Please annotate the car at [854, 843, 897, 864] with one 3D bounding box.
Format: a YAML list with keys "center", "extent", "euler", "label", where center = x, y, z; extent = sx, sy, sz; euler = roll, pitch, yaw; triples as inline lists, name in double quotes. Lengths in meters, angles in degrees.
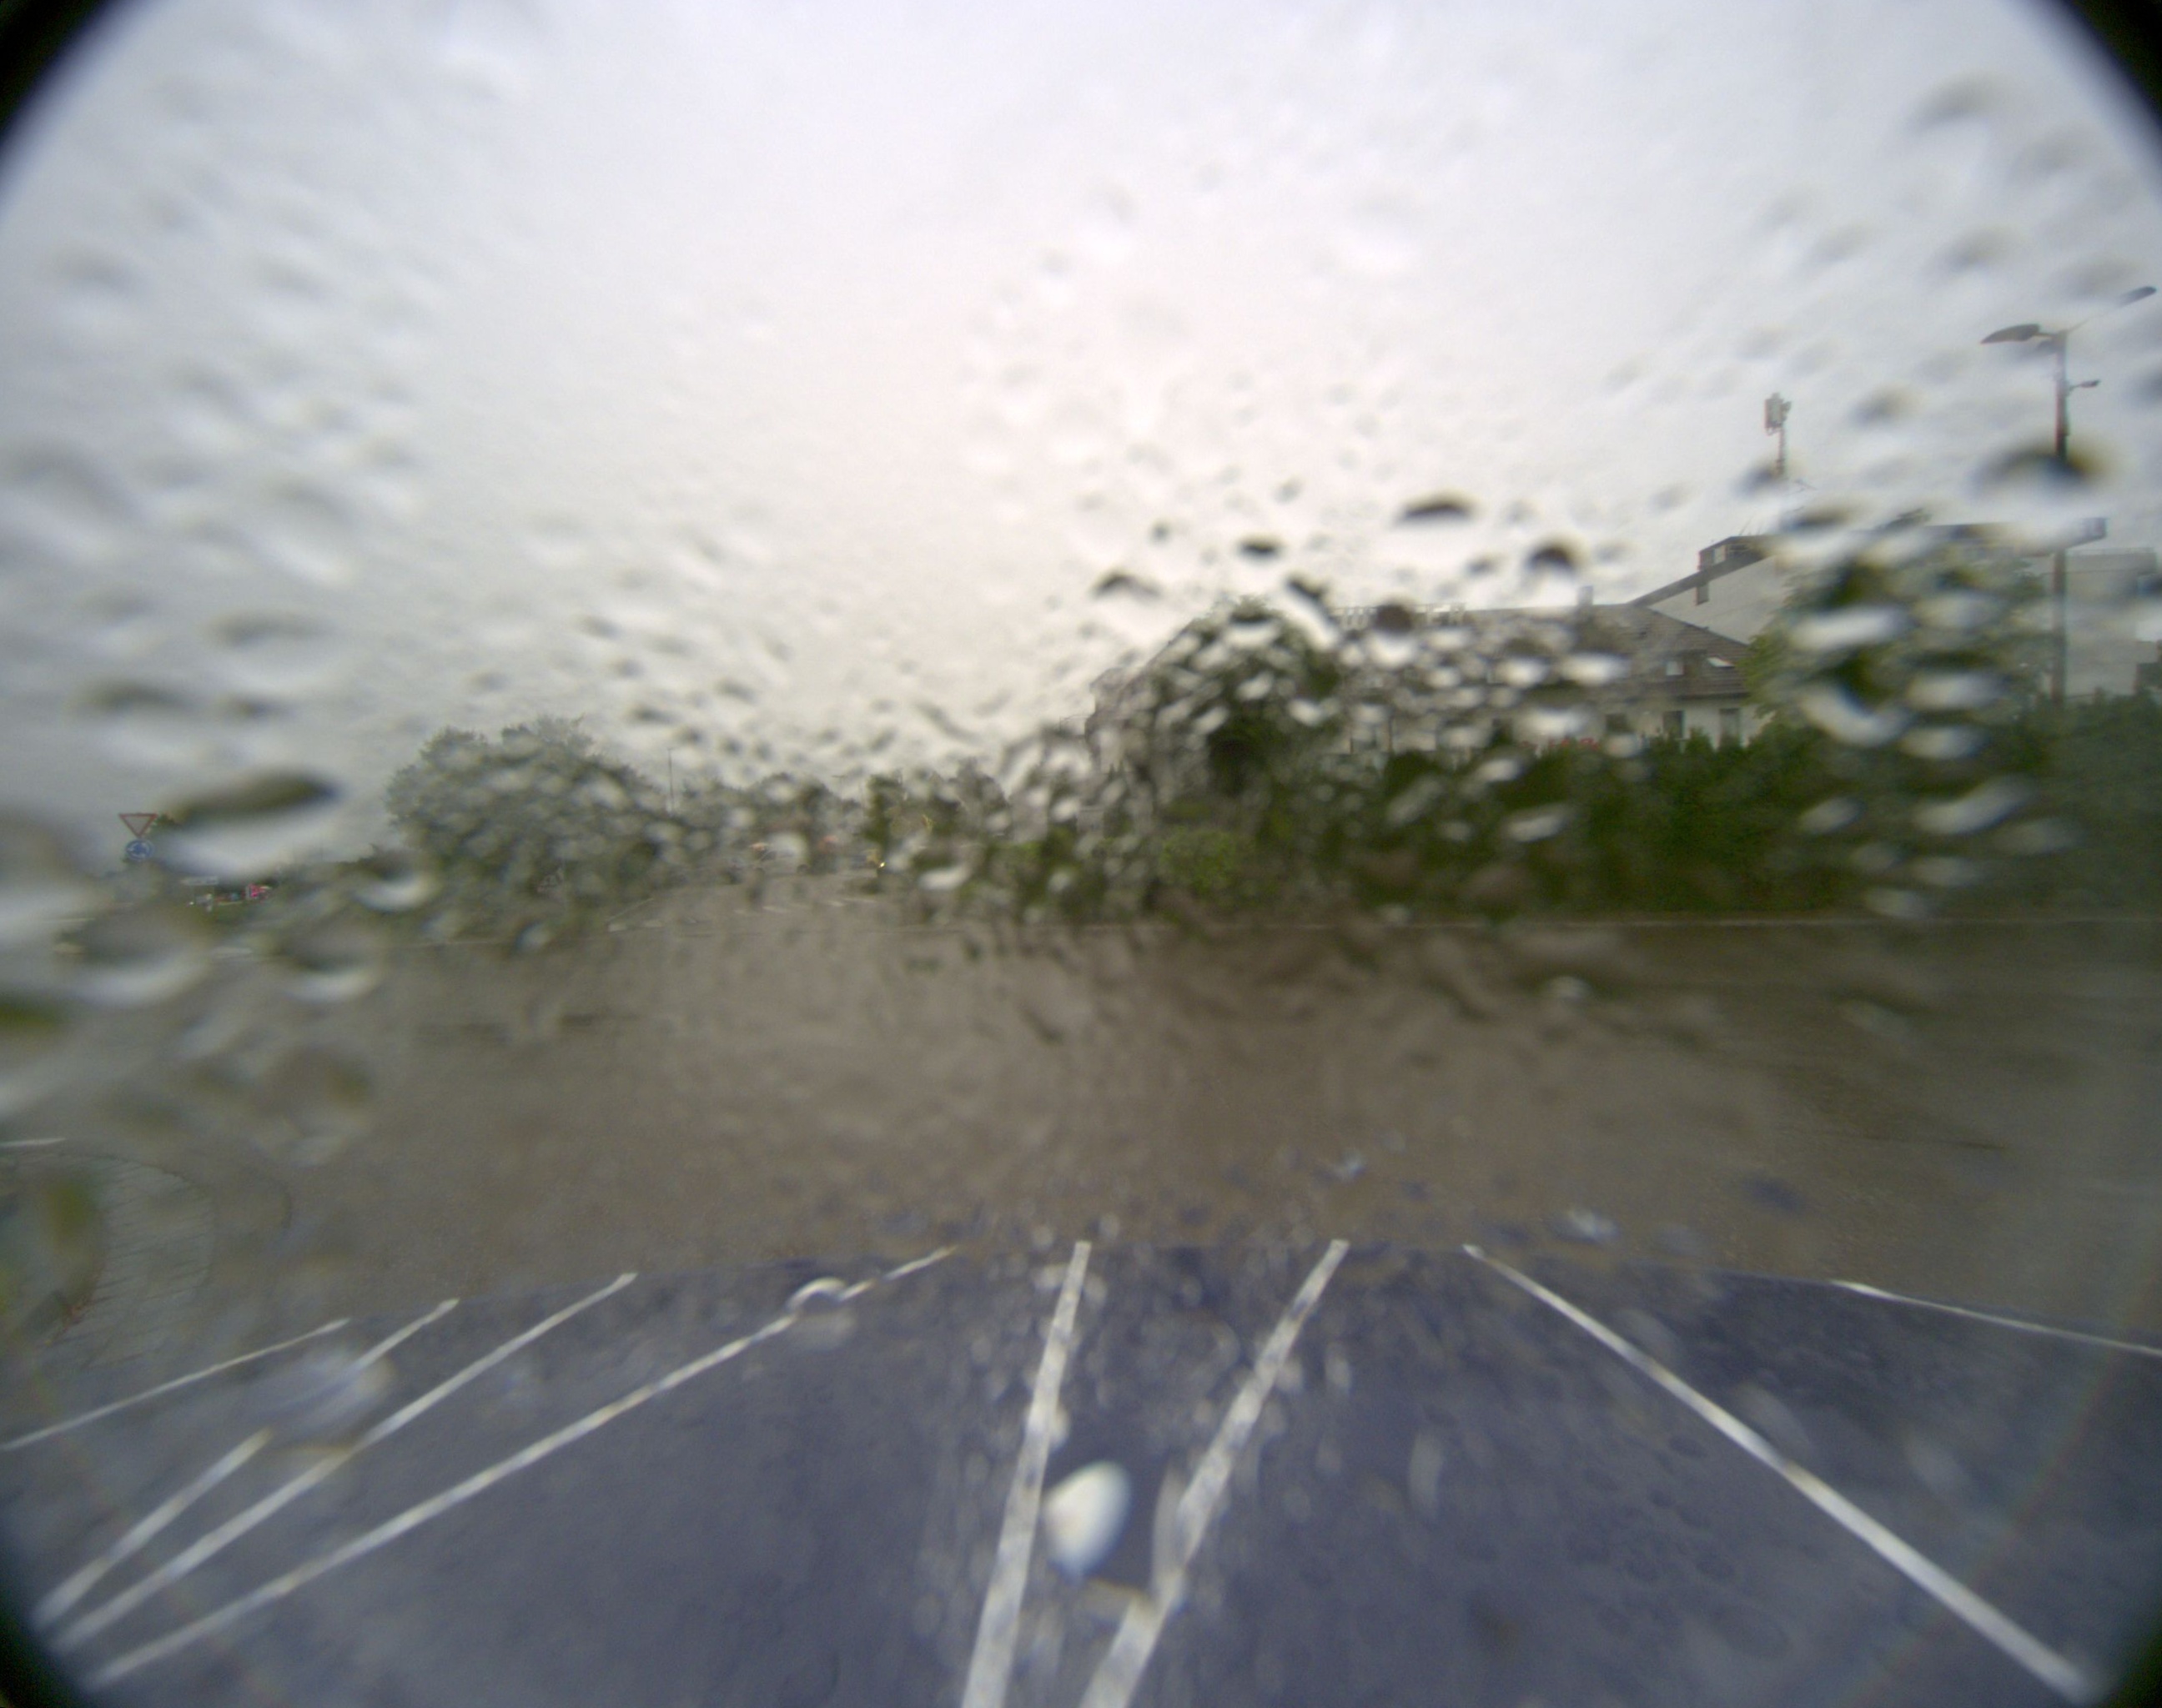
- center: [-16.729, -0.028, 61.711]
  extent: [1.669, 1.540, 3.716]
  euler: [-6, 2, -44]
  label: "car"

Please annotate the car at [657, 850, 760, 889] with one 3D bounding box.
- center: [-20.585, 0.845, 42.132]
  extent: [4.606, 1.712, 1.999]
  euler: [-4, 2, 1]
  label: "car"

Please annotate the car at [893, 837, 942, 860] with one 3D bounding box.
- center: [-14.114, -0.433, 65.475]
  extent: [3.989, 1.718, 1.993]
  euler: [-3, 2, 40]
  label: "car"

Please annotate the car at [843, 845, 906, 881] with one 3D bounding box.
- center: [-9.756, 0.367, 36.259]
  extent: [1.705, 1.417, 4.358]
  euler: [-4, 2, 0]
  label: "car"

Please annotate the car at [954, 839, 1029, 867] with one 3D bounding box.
- center: [-5.564, -0.089, 47.646]
  extent: [4.357, 1.417, 1.850]
  euler: [-3, 2, 0]
  label: "car"

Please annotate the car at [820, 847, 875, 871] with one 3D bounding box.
- center: [-18.317, 0.392, 59.487]
  extent: [4.636, 1.541, 2.003]
  euler: [-3, 2, 43]
  label: "car"

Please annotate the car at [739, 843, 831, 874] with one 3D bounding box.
- center: [-20.214, 0.286, 51.999]
  extent: [5.373, 1.712, 1.999]
  euler: [-4, 2, 1]
  label: "car"
